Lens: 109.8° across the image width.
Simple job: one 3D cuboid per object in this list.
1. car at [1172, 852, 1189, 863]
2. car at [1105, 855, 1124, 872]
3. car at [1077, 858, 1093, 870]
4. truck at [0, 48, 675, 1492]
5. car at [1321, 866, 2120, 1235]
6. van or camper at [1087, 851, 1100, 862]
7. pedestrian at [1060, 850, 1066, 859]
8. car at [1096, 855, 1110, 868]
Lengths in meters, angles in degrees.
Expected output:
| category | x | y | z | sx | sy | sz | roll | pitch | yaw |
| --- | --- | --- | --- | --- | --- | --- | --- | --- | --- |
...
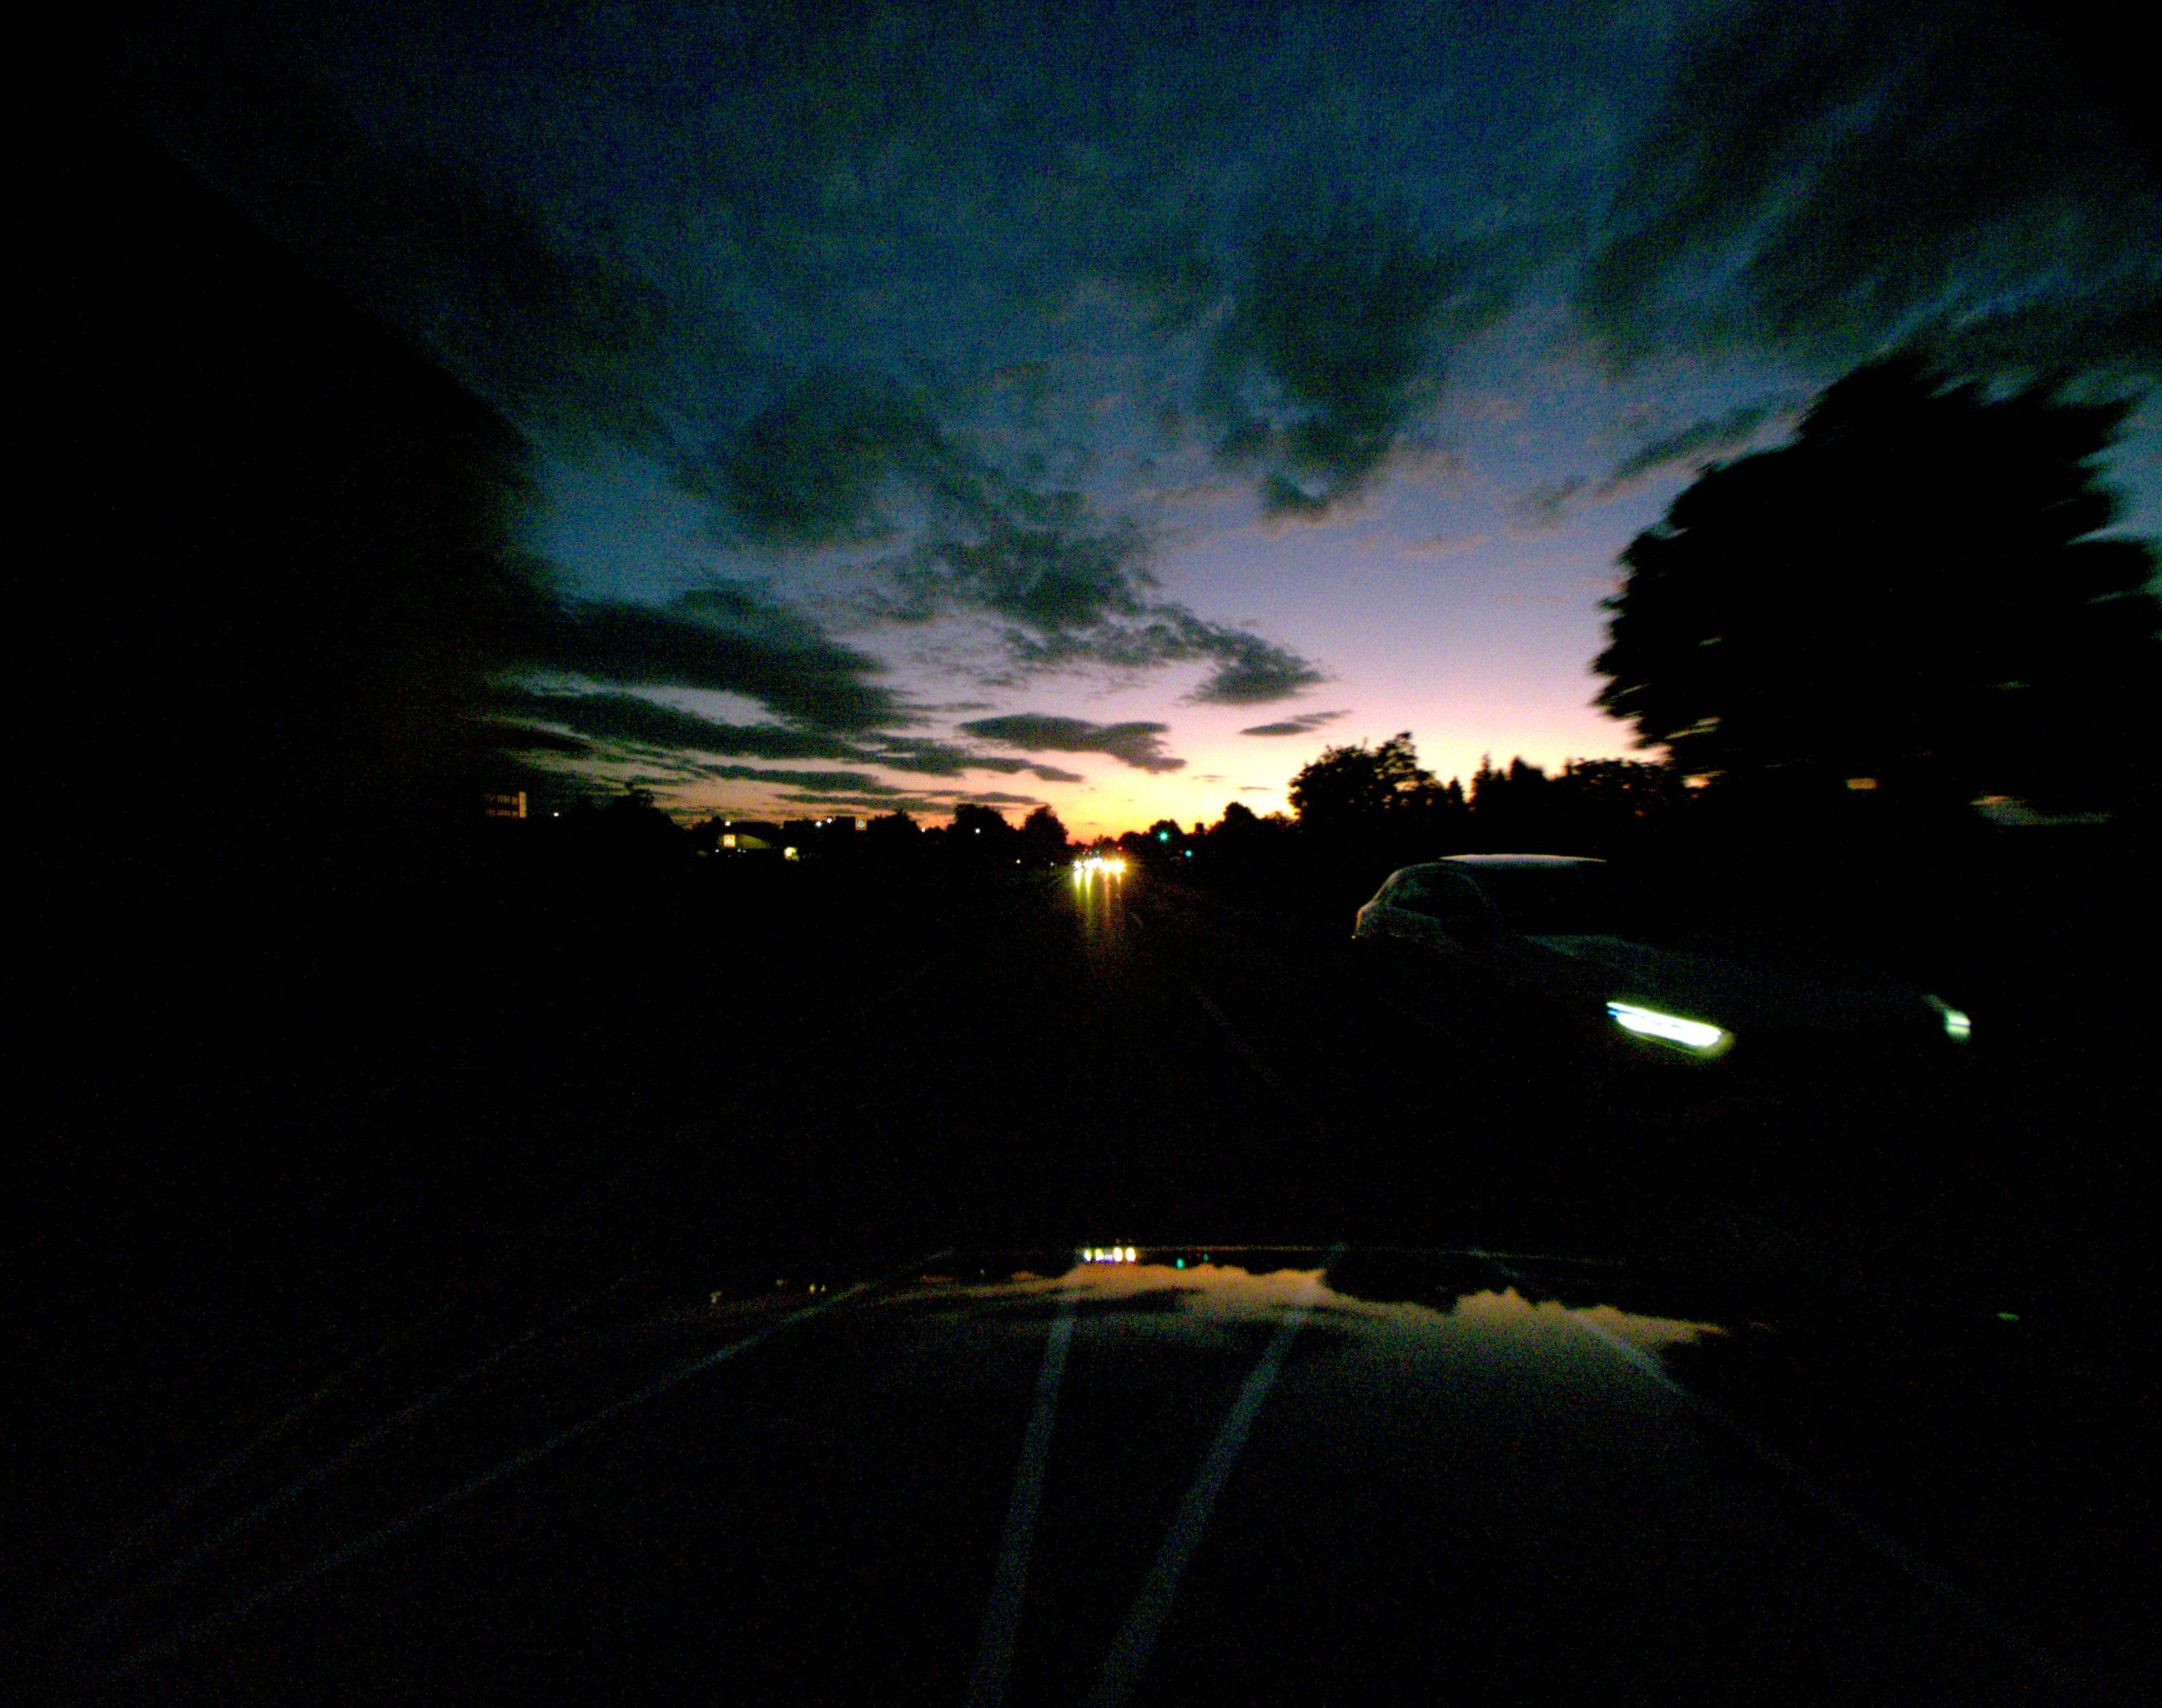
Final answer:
| category | x | y | z | sx | sy | sz | roll | pitch | yaw |
| --- | --- | --- | --- | --- | --- | --- | --- | --- | --- |
| car | 13.924 | 0.492 | 106.504 | 1.659 | 1.496 | 4.000 | -3 | 0 | 0 |
| car | 3.156 | 0.935 | 72.341 | 1.663 | 1.528 | 3.715 | -2 | -1 | 1 |
| car | 0.551 | 1.323 | 102.009 | 1.902 | 1.547 | 4.301 | -3 | -1 | 1 |
| truck | -4.306 | -0.235 | 2.375 | 2.586 | 4.047 | 6.130 | -2 | 0 | 1 |
| car | 3.343 | 0.848 | 5.436 | 1.819 | 1.427 | 4.647 | -3 | -1 | 1 |
| van or camper | 3.690 | 0.717 | 225.394 | 3.949 | 3.106 | 9.942 | 0 | 0 | 0 |
| pedestrian | -3.995 | 0.090 | 168.309 | 0.782 | 2.002 | 0.712 | -3 | 1 | -38 |
| car | 2.961 | 0.996 | 102.828 | 1.760 | 1.692 | 4.250 | -2 | -1 | 1 |
